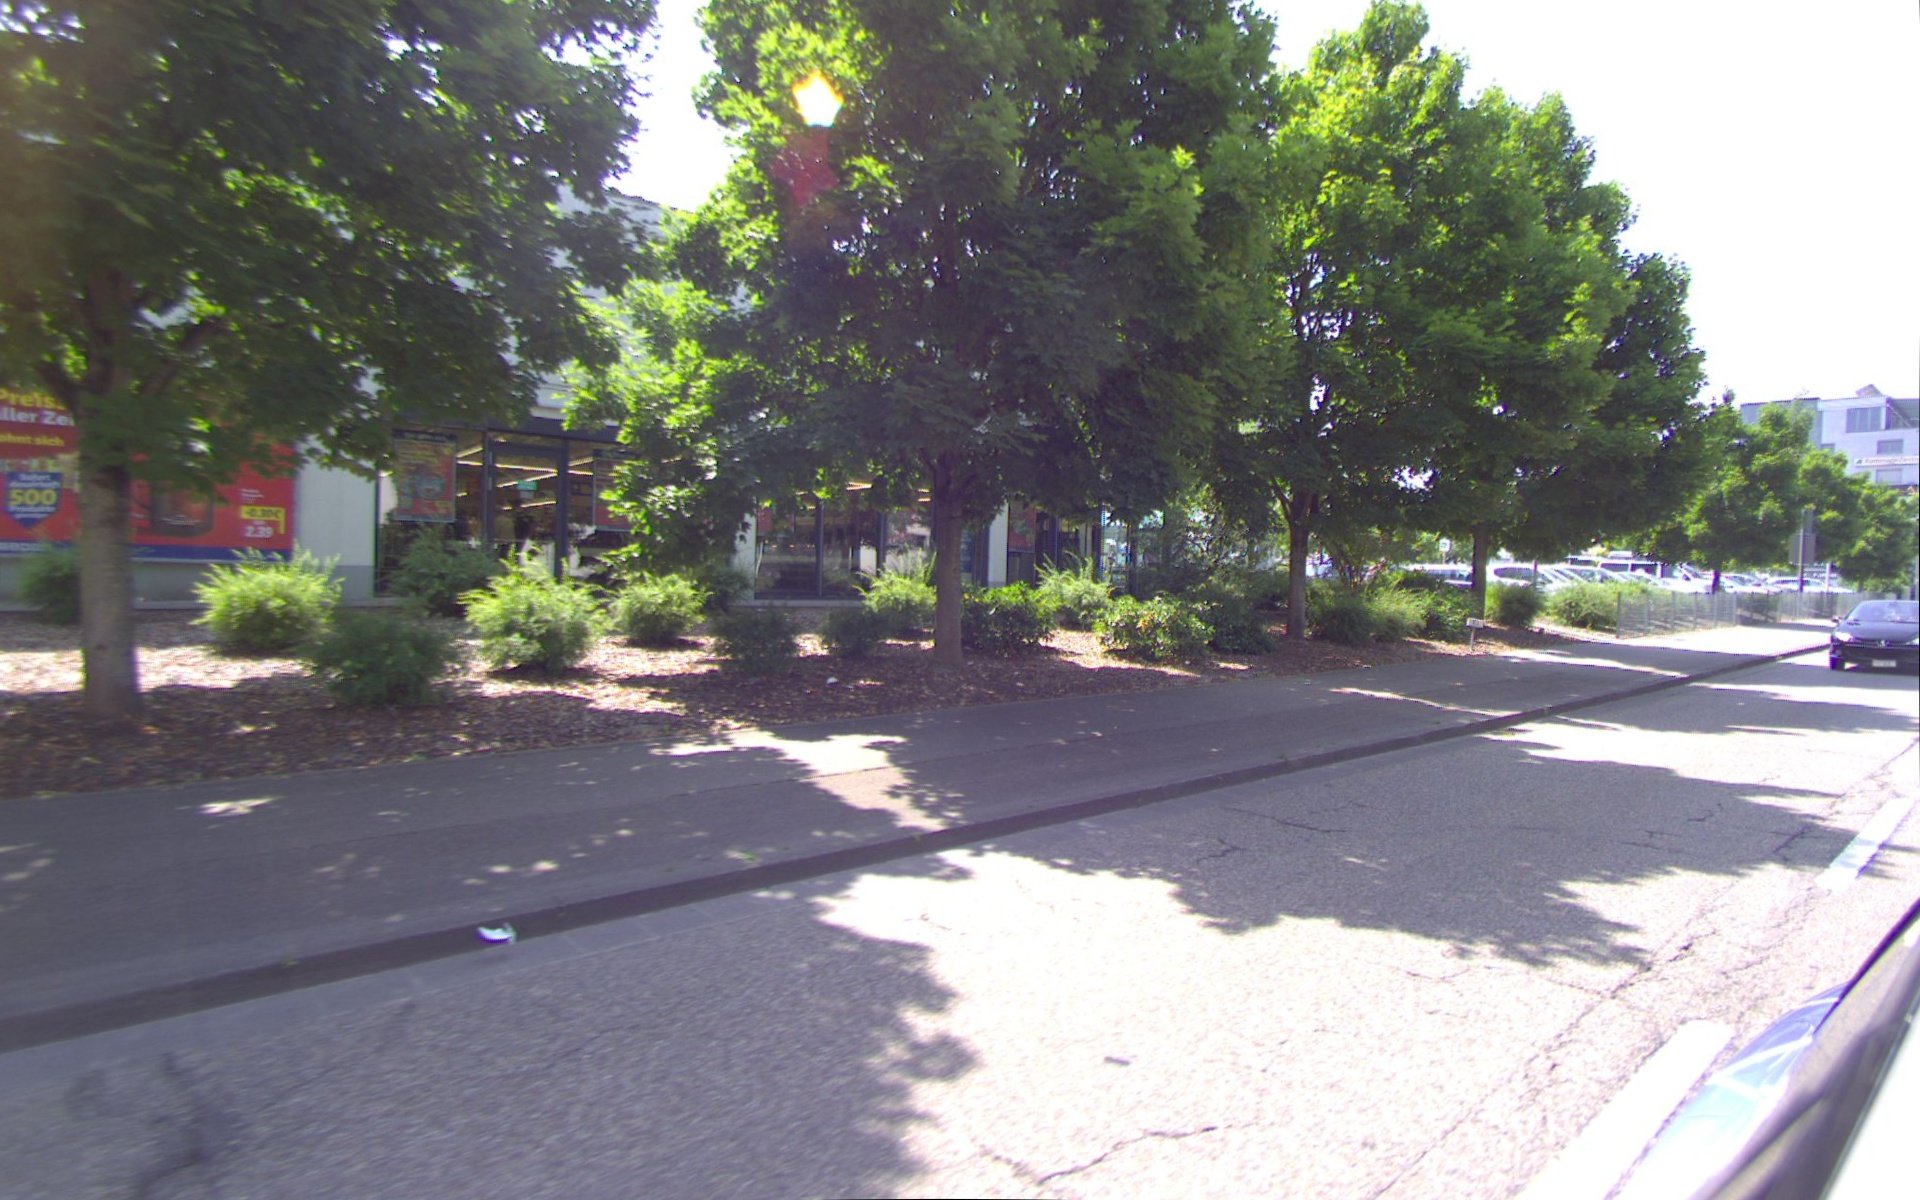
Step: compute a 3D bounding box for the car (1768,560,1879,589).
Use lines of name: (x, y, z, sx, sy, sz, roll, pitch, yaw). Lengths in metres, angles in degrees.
car: (49.286, -1.484, 57.821, 1.668, 1.523, 4.587, 0, 2, -40)

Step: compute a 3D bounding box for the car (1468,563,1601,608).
car: (21.448, -0.591, 37.857, 1.797, 1.552, 3.991, -2, 4, -44)

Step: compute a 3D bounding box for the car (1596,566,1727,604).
car: (28.245, -0.628, 40.860, 1.794, 1.407, 3.997, 0, 2, -39)

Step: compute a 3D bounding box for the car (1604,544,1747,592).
car: (30.247, -1.374, 42.920, 1.794, 1.948, 4.629, 0, 2, -39)

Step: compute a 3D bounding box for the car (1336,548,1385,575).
car: (22.445, -2.147, 56.690, 2.906, 1.437, 1.267, -1, 4, -41)

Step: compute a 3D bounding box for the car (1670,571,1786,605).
car: (35.712, -0.604, 47.121, 1.667, 1.439, 4.006, 0, 2, -39)

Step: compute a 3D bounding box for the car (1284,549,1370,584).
car: (16.760, -1.503, 46.136, 3.923, 1.459, 1.653, 0, 3, -34)

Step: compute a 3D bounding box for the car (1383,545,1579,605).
car: (16.110, -0.848, 31.535, 1.988, 1.615, 5.001, -1, 4, -41)

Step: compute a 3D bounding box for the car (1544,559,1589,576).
car: (52.425, -2.808, 87.447, 4.066, 1.404, 1.999, -1, 1, -38)

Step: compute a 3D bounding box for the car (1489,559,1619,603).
car: (23.058, -0.781, 39.407, 1.794, 1.552, 3.997, -2, 3, -39)

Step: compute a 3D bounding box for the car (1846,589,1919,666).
car: (18.557, 0.484, 19.703, 3.441, 1.373, 1.639, -1, 1, -43)

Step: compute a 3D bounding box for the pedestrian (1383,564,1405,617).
pedestrian: (14.283, -0.313, 33.303, 0.409, 1.693, 0.448, 0, 3, -43)

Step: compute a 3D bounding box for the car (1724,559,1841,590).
car: (40.613, -1.272, 50.056, 1.666, 1.439, 4.183, 0, 2, -37)

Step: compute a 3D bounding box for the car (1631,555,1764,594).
car: (32.339, -1.133, 44.467, 1.794, 1.612, 4.378, 0, 2, -39)

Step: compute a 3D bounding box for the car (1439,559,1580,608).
car: (19.203, -0.555, 35.477, 1.796, 1.616, 3.991, -1, 1, -43)
